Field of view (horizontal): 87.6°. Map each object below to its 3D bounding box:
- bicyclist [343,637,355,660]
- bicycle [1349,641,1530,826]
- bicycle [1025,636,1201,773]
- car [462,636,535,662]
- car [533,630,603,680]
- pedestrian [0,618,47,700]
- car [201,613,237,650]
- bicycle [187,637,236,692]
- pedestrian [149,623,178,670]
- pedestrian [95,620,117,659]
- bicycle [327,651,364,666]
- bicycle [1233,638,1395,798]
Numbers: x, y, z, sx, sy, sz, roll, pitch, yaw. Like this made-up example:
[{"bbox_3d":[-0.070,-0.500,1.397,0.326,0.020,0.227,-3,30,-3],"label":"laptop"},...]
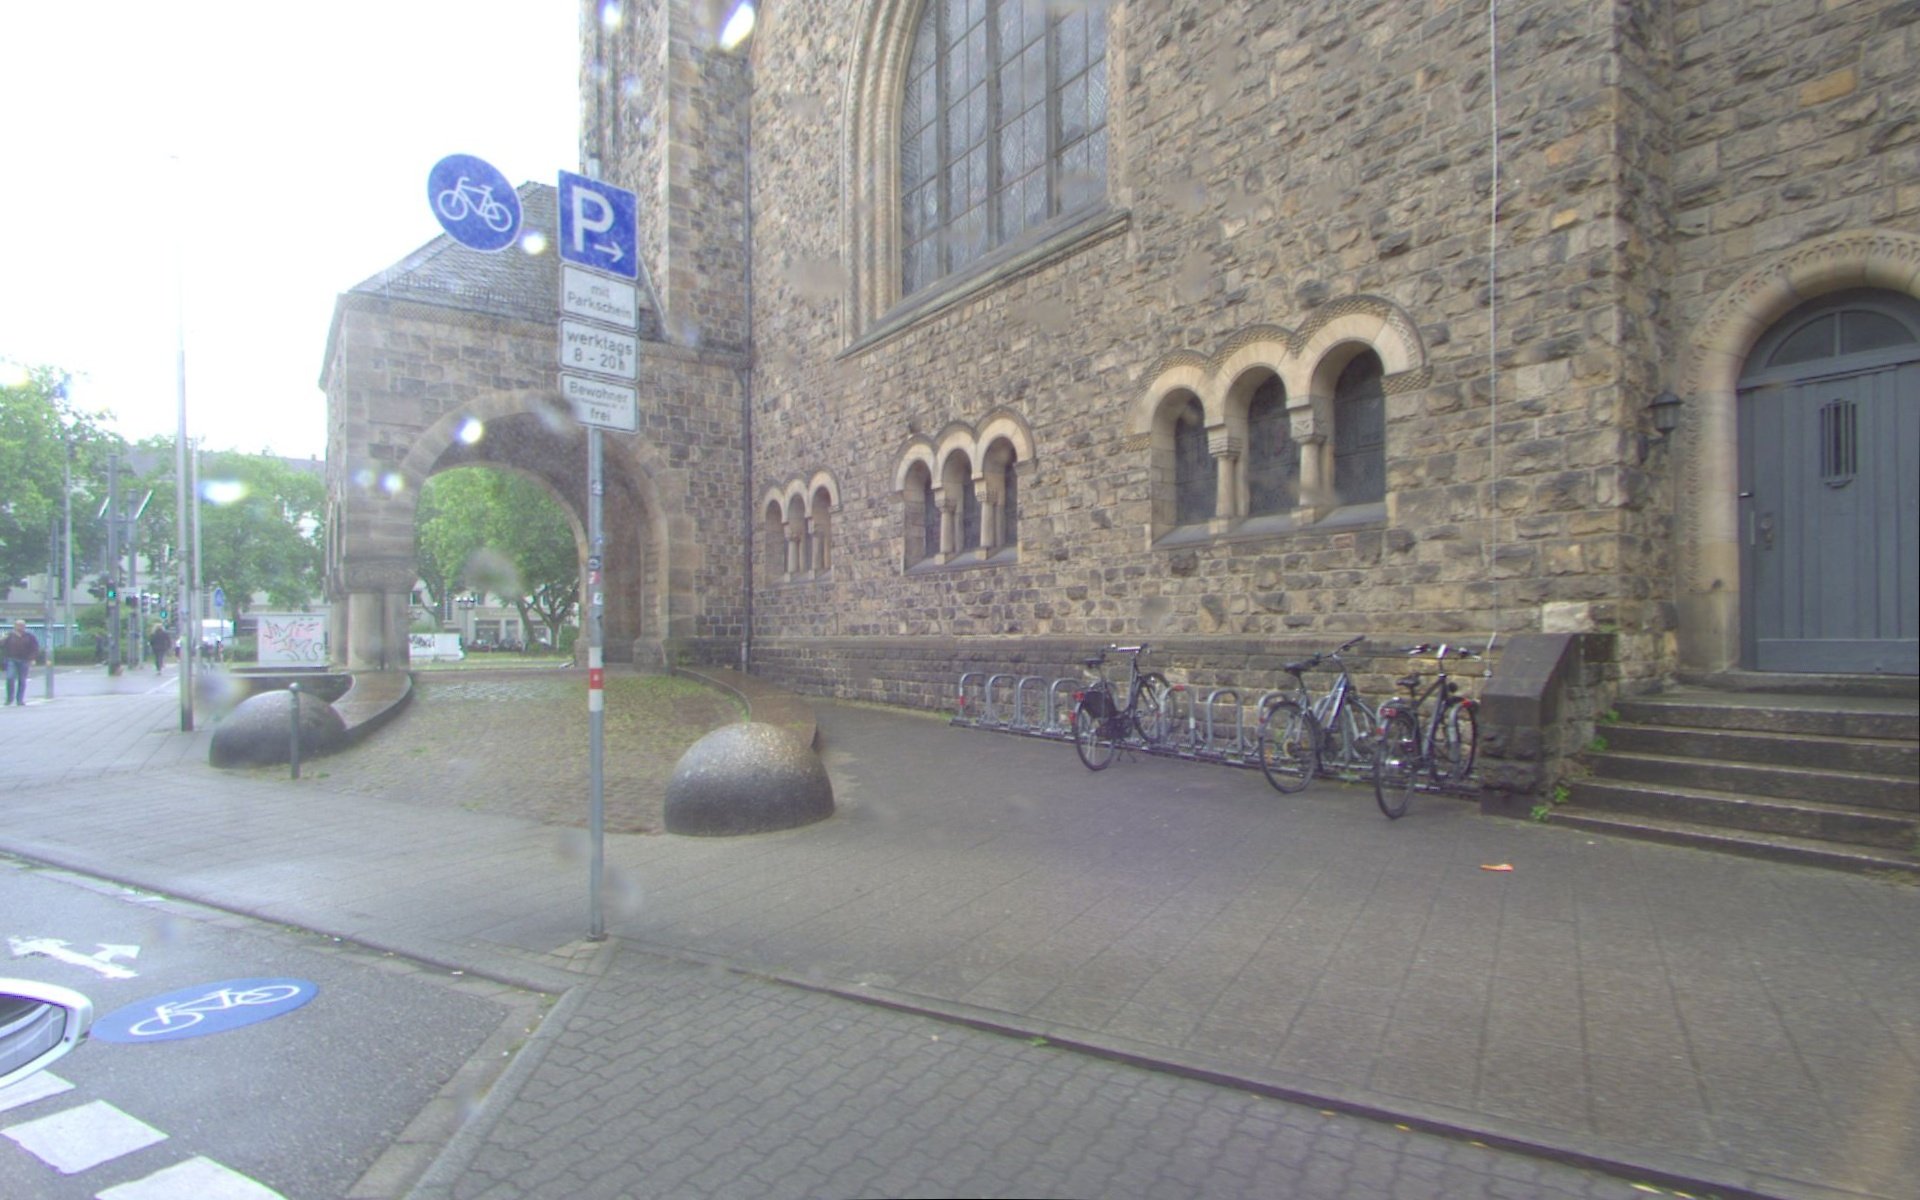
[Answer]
[{"bbox_3d":[-33.988,2.703,55.659,0.517,1.266,0.648,0,-1,-36],"label":"bicyclist"},{"bbox_3d":[3.462,0.873,7.134,1.971,1.068,0.507,-2,0,-45],"label":"bicycle"},{"bbox_3d":[1.535,0.956,9.753,0.684,1.119,1.973,-2,0,43],"label":"bicycle"},{"bbox_3d":[-26.142,2.754,56.743,3.528,1.405,1.617,1,-1,-36],"label":"car"},{"bbox_3d":[-12.359,1.689,31.525,1.389,1.498,3.200,1,-2,-34],"label":"car"},{"bbox_3d":[-20.964,1.303,22.397,0.780,1.782,0.936,0,0,-43],"label":"pedestrian"},{"bbox_3d":[-53.487,2.302,72.340,1.888,2.588,4.757,0,-2,-34],"label":"car"},{"bbox_3d":[-16.363,1.385,21.869,2.049,1.169,0.327,-1,-1,38],"label":"bicycle"},{"bbox_3d":[-28.834,1.659,36.266,0.775,1.667,0.651,0,0,-34],"label":"pedestrian"},{"bbox_3d":[-45.349,2.075,53.193,0.797,2.040,0.586,0,-1,-31],"label":"pedestrian"},{"bbox_3d":[-34.109,3.243,55.589,1.683,0.728,0.648,1,-1,-38],"label":"bicycle"},{"bbox_3d":[2.957,0.910,8.264,1.697,1.126,0.556,-2,0,-45],"label":"bicycle"}]
